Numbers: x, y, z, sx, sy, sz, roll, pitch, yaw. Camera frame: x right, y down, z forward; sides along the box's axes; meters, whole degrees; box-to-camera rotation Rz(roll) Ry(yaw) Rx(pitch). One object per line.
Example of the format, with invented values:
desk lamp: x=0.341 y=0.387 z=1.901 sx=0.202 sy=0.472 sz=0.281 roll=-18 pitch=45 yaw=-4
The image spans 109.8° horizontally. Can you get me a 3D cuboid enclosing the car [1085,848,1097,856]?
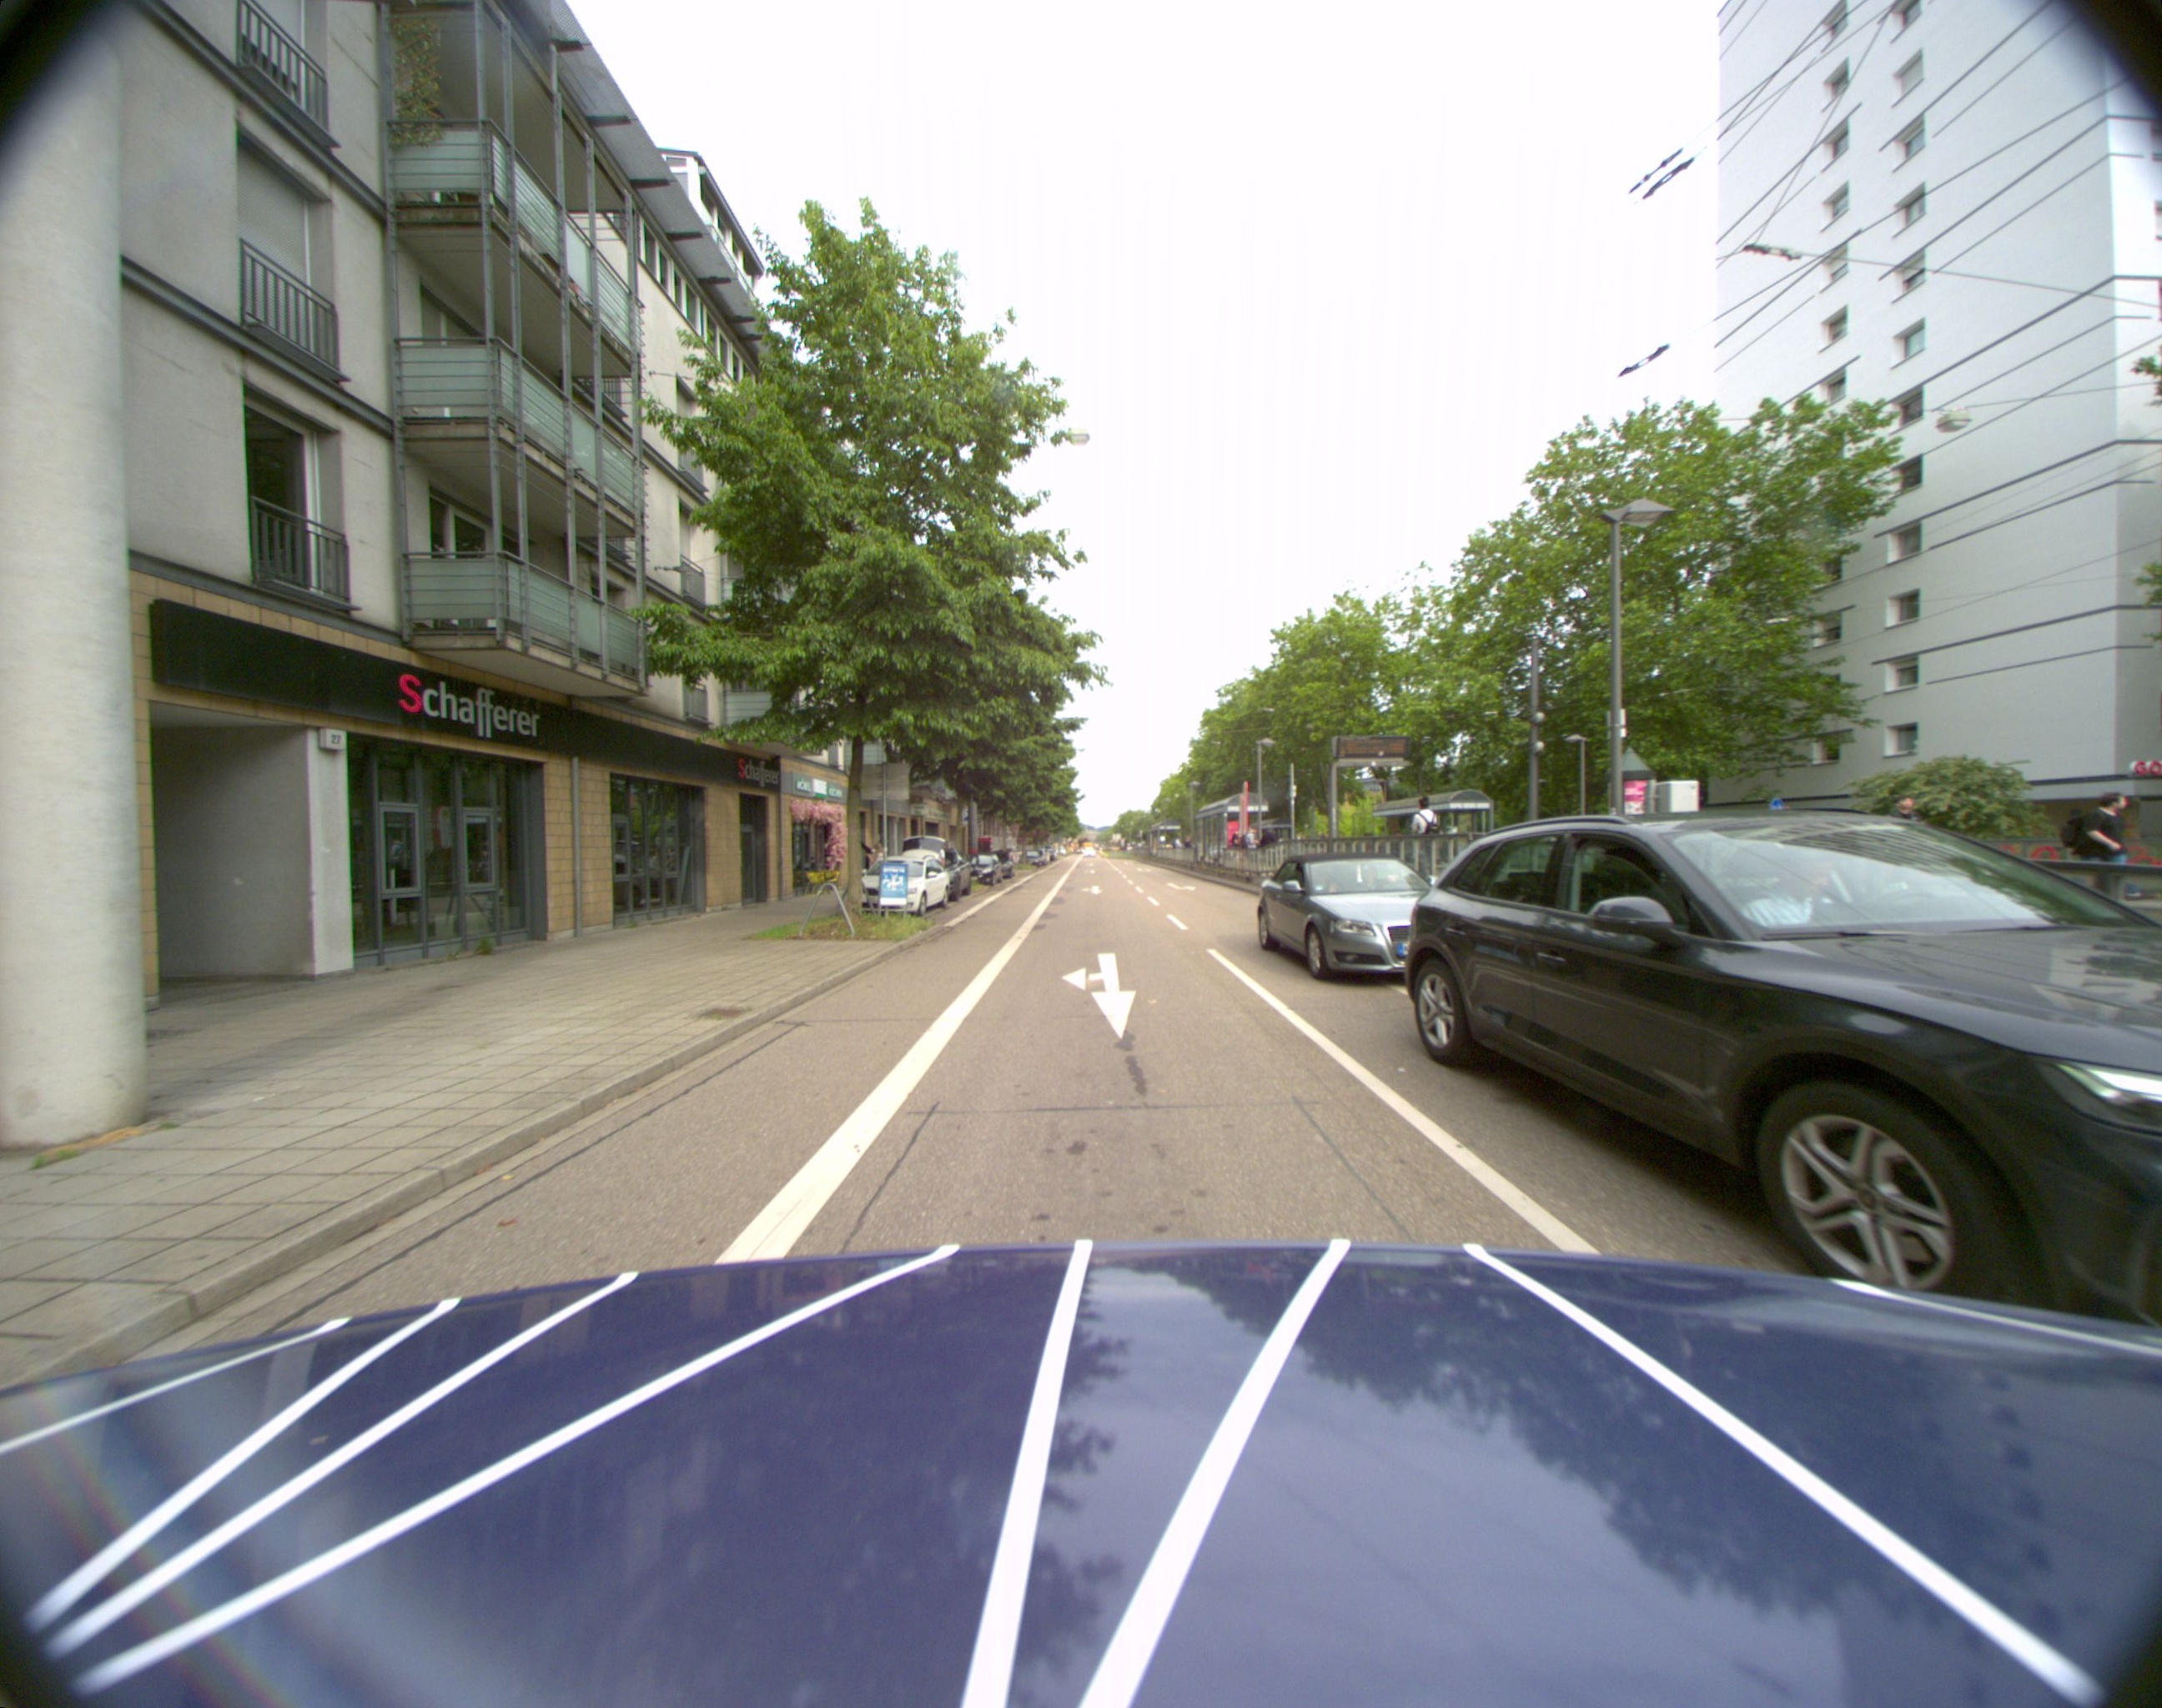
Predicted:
car: x=1.524 y=-0.325 z=119.563 sx=1.865 sy=1.339 sz=3.815 roll=1 pitch=1 yaw=1

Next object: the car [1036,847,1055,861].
car: x=-3.730 y=-0.042 z=79.492 sx=1.730 sy=1.375 sz=3.815 roll=1 pitch=1 yaw=1

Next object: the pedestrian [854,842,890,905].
pedestrian: x=-6.078 y=0.554 z=22.162 sx=0.745 sy=1.795 sz=0.839 roll=-2 pitch=1 yaw=0

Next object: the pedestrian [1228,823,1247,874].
pedestrian: x=6.417 y=-0.218 z=31.143 sx=0.585 sy=2.038 sz=0.821 roll=-2 pitch=1 yaw=4

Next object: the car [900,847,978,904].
car: x=-4.528 y=0.623 z=24.735 sx=1.730 sy=1.652 sz=3.942 roll=1 pitch=1 yaw=1

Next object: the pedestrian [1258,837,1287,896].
pedestrian: x=5.863 y=0.385 z=23.245 sx=0.661 sy=1.781 sz=0.535 roll=-1 pitch=2 yaw=41

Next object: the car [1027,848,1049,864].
car: x=-3.871 y=0.130 z=69.302 sx=1.730 sy=1.375 sz=3.815 roll=1 pitch=1 yaw=1

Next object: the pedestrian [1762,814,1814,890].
pedestrian: x=15.951 y=-0.044 z=17.156 sx=0.622 sy=1.659 sz=0.565 roll=-2 pitch=1 yaw=2

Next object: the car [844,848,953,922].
car: x=-4.583 y=0.696 z=19.703 sx=1.730 sy=1.652 sz=4.103 roll=2 pitch=1 yaw=1

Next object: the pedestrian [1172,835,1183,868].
pedestrian: x=6.122 y=-0.169 z=48.394 sx=0.585 sy=2.038 sz=0.821 roll=-2 pitch=1 yaw=4

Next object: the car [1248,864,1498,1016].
car: x=3.359 y=0.887 z=9.596 sx=1.637 sy=1.367 sz=4.013 roll=-2 pitch=1 yaw=1

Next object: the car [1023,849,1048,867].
car: x=-3.715 y=0.281 z=62.784 sx=1.730 sy=1.375 sz=3.815 roll=1 pitch=1 yaw=1

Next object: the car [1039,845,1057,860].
car: x=-3.712 y=-0.212 z=85.351 sx=1.730 sy=1.675 sz=3.815 roll=1 pitch=1 yaw=1

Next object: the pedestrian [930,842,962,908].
pedestrian: x=-3.990 y=0.626 z=22.551 sx=0.652 sy=1.922 sz=0.644 roll=-2 pitch=1 yaw=16

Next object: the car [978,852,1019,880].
car: x=-4.485 y=0.622 z=41.696 sx=1.730 sy=1.375 sz=3.815 roll=1 pitch=1 yaw=1

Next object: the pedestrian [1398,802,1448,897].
pedestrian: x=6.433 y=-0.085 z=14.313 sx=0.662 sy=1.741 sz=0.534 roll=-2 pitch=1 yaw=2

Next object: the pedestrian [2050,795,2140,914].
pedestrian: x=15.336 y=0.006 z=11.505 sx=0.622 sy=1.741 sz=0.548 roll=-2 pitch=1 yaw=2

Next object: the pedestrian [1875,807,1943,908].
pedestrian: x=14.923 y=0.059 z=13.708 sx=0.622 sy=1.779 sz=0.534 roll=-2 pitch=1 yaw=2

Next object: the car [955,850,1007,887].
car: x=-4.418 y=0.600 z=34.057 sx=1.684 sy=1.536 sz=3.942 roll=1 pitch=1 yaw=1

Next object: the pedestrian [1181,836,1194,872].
pedestrian: x=6.072 y=-0.006 z=43.335 sx=0.585 sy=2.038 sz=0.821 roll=-2 pitch=1 yaw=4

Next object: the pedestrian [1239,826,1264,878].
pedestrian: x=5.894 y=-0.070 z=26.354 sx=0.683 sy=1.781 sz=0.821 roll=-2 pitch=1 yaw=4

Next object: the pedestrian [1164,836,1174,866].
pedestrian: x=6.161 y=-0.223 z=53.267 sx=0.585 sy=2.038 sz=0.821 roll=-2 pitch=1 yaw=4

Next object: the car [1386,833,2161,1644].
car: x=3.204 y=0.765 z=3.452 sx=1.916 sy=1.638 sz=4.367 roll=-2 pitch=1 yaw=1
